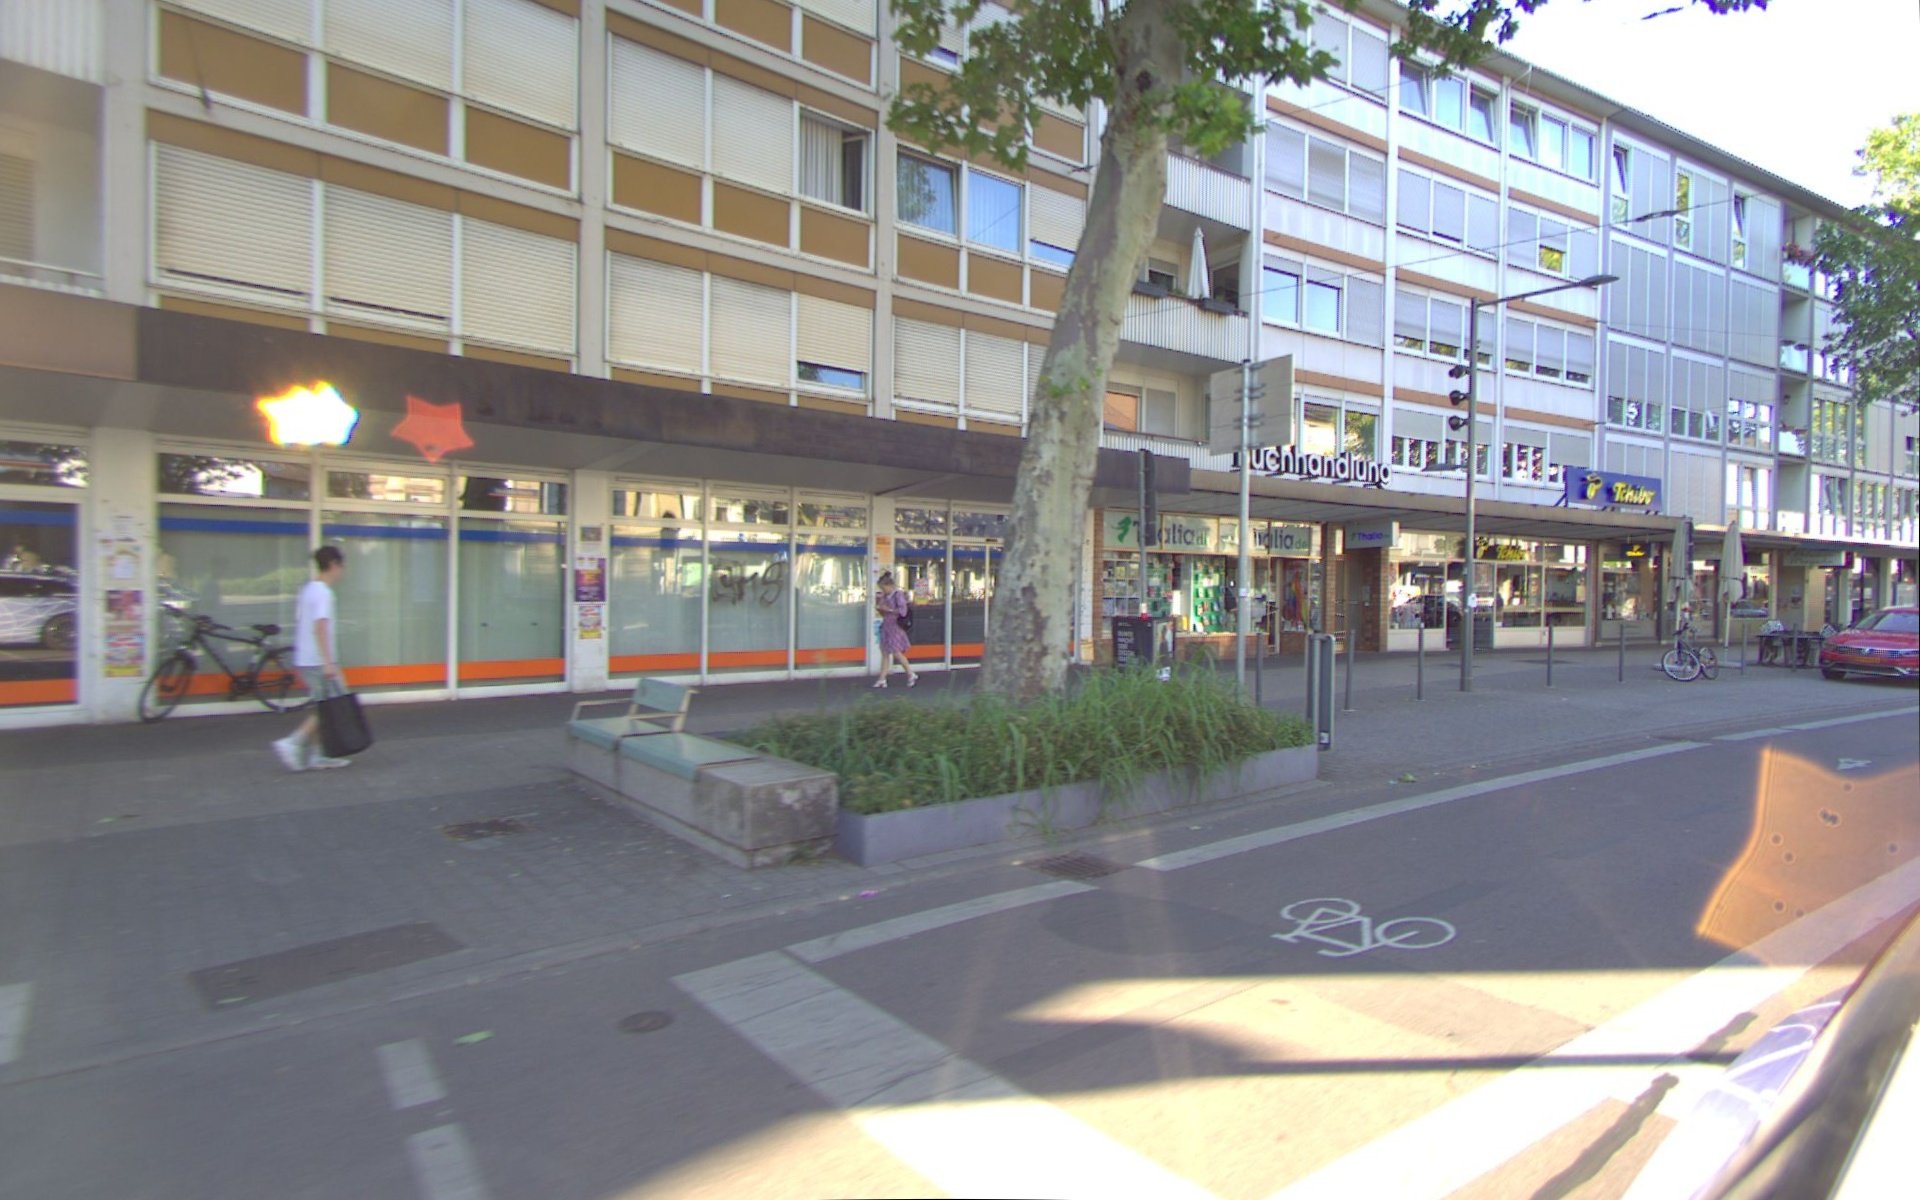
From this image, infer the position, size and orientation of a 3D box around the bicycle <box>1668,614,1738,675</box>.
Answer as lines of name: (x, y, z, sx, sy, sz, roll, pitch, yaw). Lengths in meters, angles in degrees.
bicycle: (14.151, 0.826, 19.263, 1.629, 1.083, 0.513, 0, 3, -34)

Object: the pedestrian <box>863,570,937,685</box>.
pedestrian: (-0.855, 0.371, 14.370, 0.793, 1.571, 0.641, 0, 2, -38)

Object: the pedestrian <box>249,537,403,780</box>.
pedestrian: (-4.897, 0.406, 7.815, 0.835, 1.733, 0.781, 4, 2, 42)

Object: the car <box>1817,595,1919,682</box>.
car: (19.246, 0.719, 20.131, 4.475, 1.514, 1.787, 0, 3, -28)

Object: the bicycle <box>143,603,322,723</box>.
bicycle: (-7.399, 0.605, 10.331, 1.438, 1.106, 0.438, 0, 3, -44)
